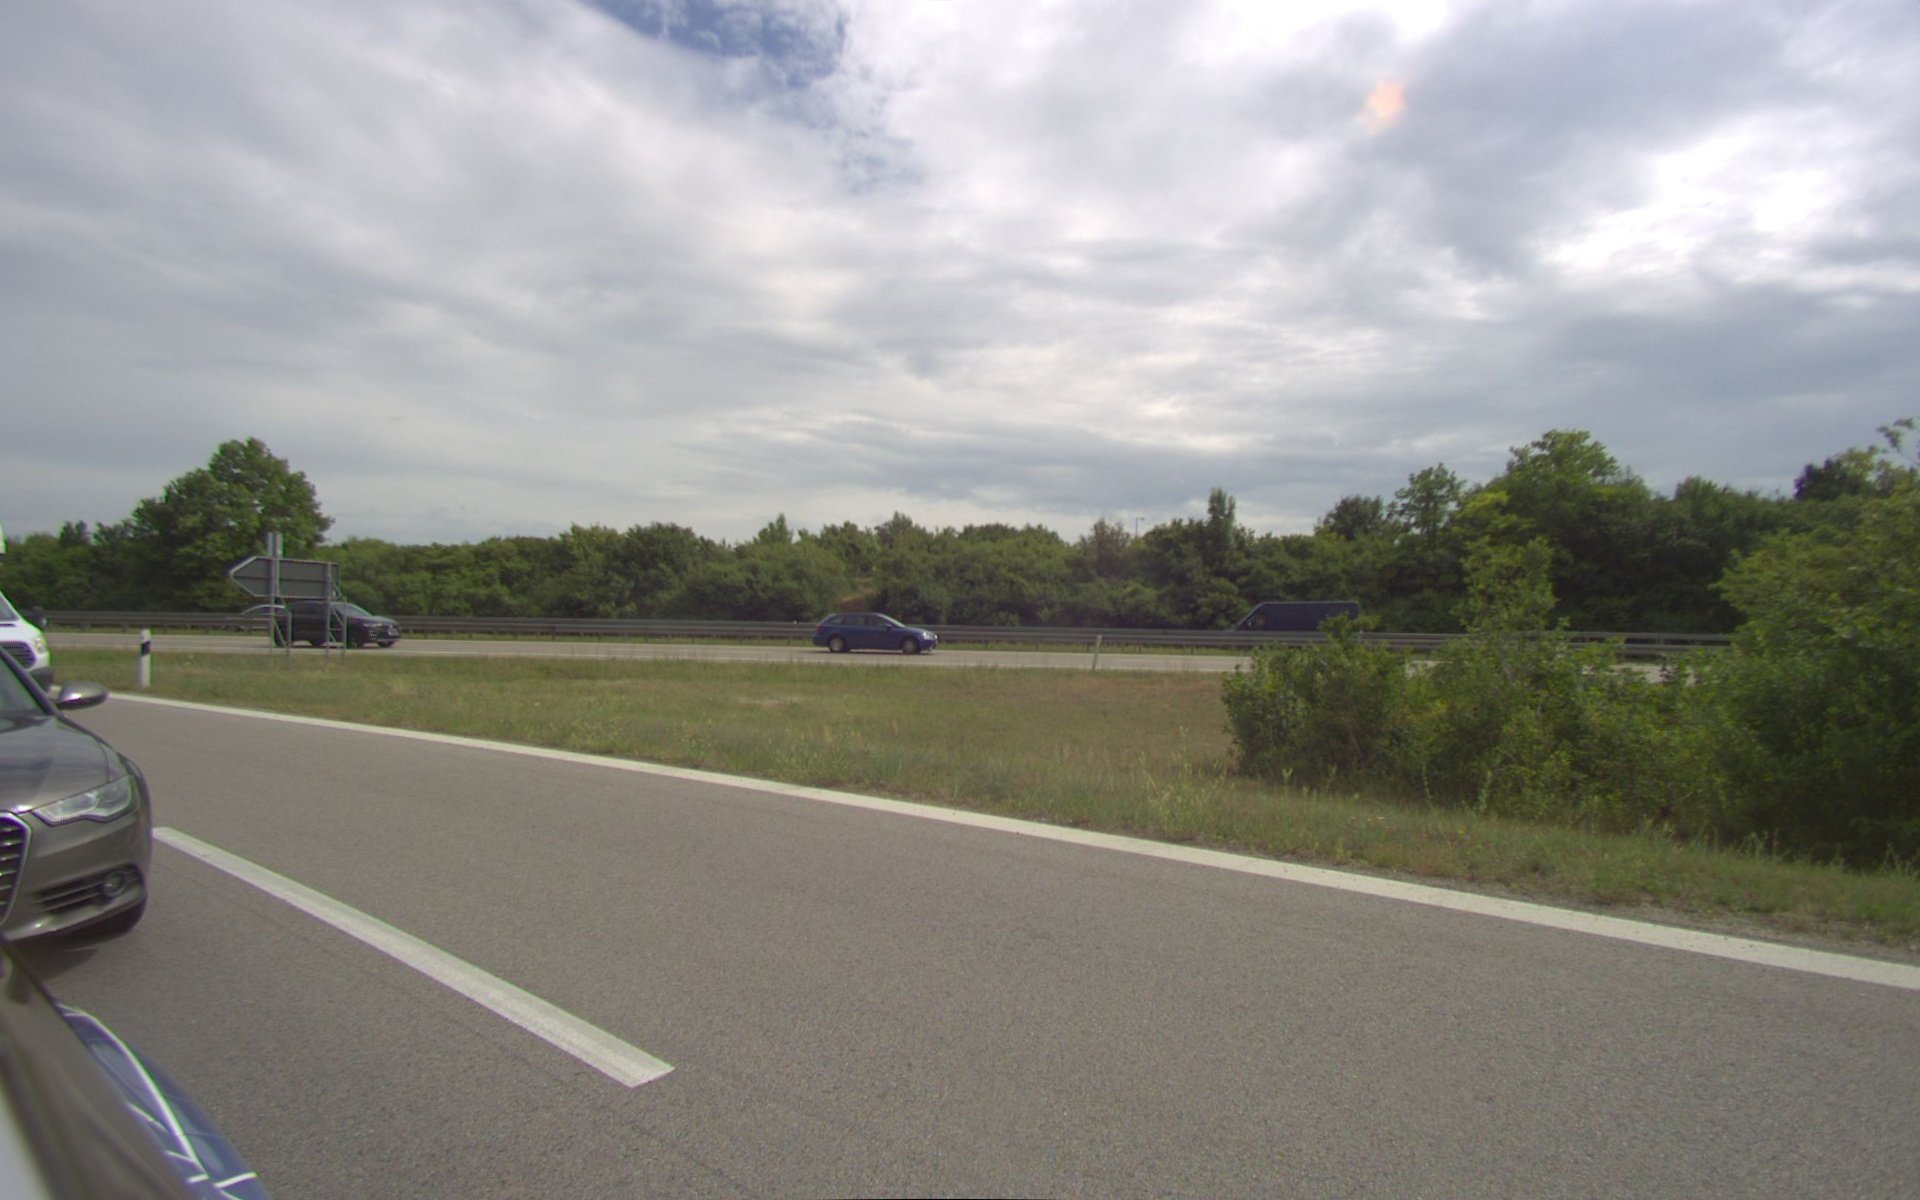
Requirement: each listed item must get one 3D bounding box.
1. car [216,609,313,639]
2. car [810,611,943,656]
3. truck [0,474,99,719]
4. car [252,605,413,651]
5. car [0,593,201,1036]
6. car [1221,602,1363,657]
[{"bbox_3d":[-36.498,1.256,53.149,3.950,1.497,1.810,1,0,5],"label":"car"},{"bbox_3d":[-2.913,1.165,35.958,4.406,1.434,1.995,1,0,8],"label":"car"},{"bbox_3d":[-16.126,-0.002,14.013,7.394,3.191,2.558,-1,0,14],"label":"truck"},{"bbox_3d":[-21.327,0.942,34.475,4.405,1.434,1.996,1,0,7],"label":"car"},{"bbox_3d":[-5.309,0.769,4.628,4.534,1.526,1.973,-1,-1,40],"label":"car"},{"bbox_3d":[15.304,1.343,46.988,5.896,2.453,2.138,-1,0,7],"label":"car"}]
